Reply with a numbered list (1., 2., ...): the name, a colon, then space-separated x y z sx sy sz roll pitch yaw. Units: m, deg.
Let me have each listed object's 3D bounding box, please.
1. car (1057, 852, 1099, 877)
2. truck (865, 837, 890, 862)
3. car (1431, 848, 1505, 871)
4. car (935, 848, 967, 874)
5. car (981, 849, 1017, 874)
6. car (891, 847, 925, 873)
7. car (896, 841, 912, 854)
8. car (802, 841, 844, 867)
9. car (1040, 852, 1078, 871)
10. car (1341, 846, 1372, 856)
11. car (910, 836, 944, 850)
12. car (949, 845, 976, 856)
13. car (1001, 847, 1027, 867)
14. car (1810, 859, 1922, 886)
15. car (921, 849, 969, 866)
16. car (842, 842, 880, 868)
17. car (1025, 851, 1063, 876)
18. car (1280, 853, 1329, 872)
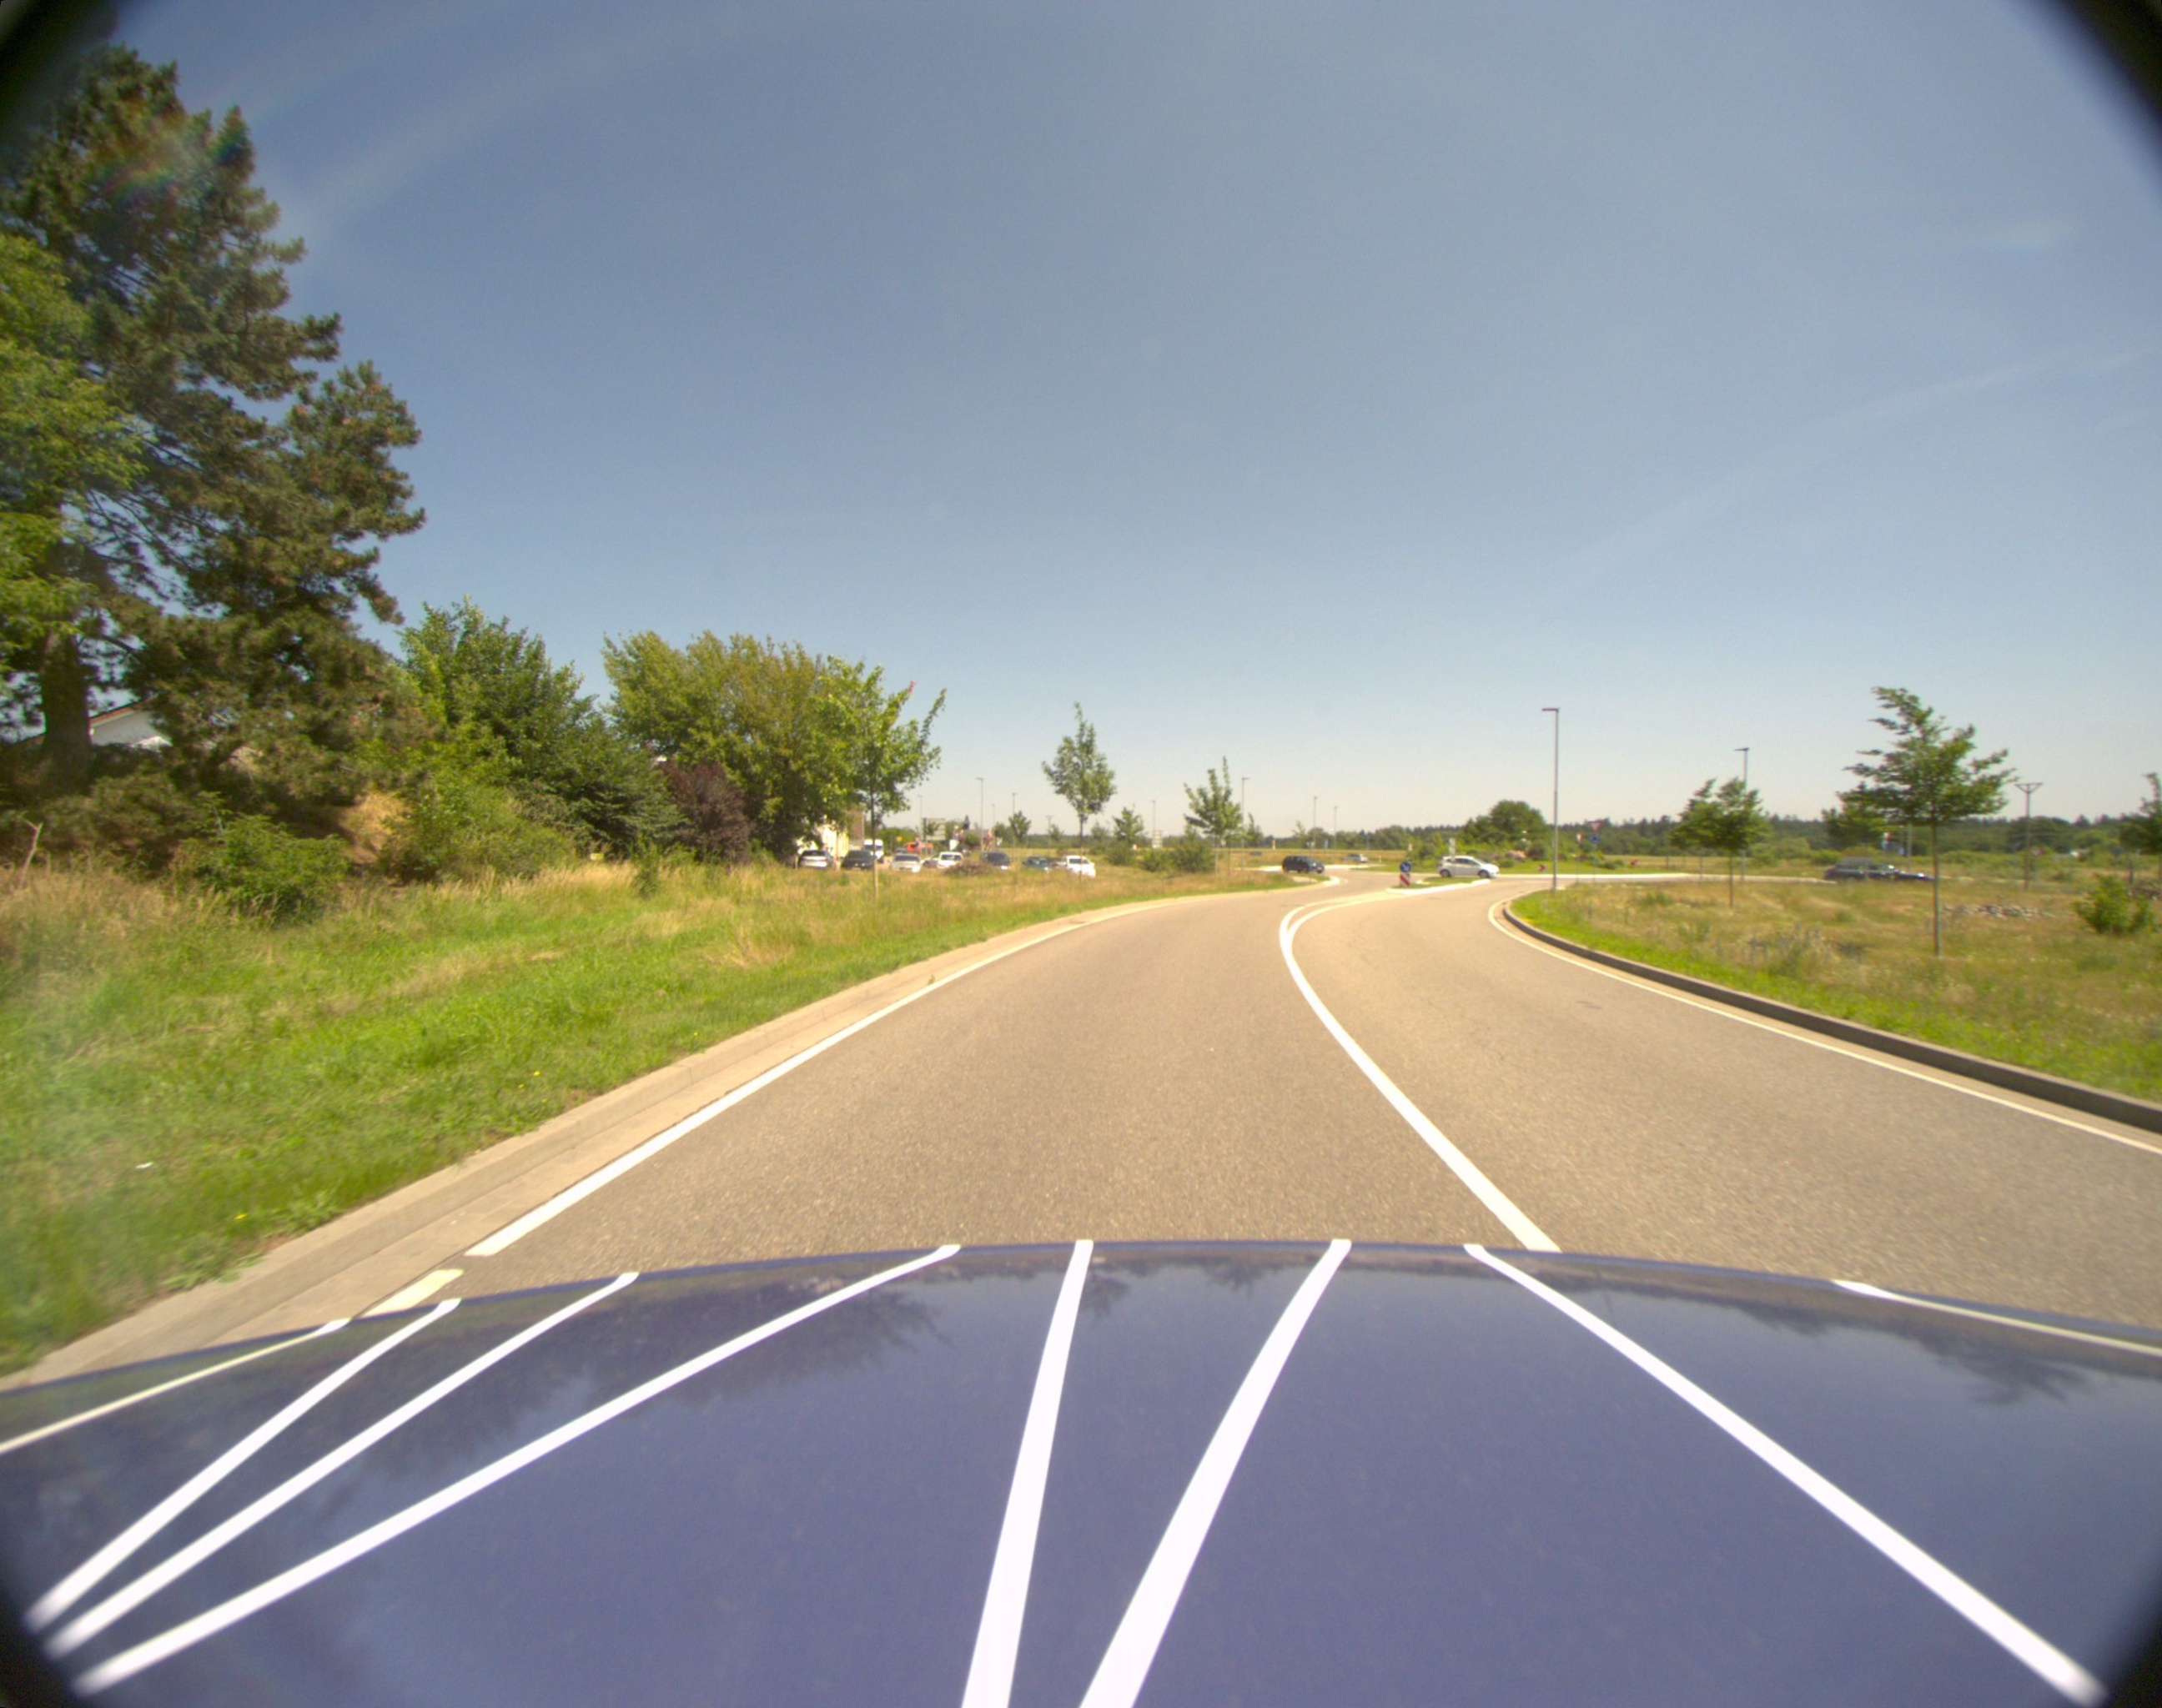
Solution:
1. car: -0.241 0.622 46.586 1.748 1.419 3.994 0 1 -13
2. truck: -20.984 -0.516 78.646 2.238 2.492 5.628 0 1 -13
3. car: 28.697 0.359 56.403 4.507 1.553 1.873 2 2 42
4. car: -7.797 0.425 45.182 1.774 1.434 3.963 0 -1 -11
5. car: -4.907 0.450 45.233 1.774 1.434 3.963 0 -1 -11
6. car: -9.893 0.369 43.526 1.774 1.434 3.962 0 -1 -12
7. car: -22.096 -0.811 94.902 1.855 1.487 3.994 0 1 -15
8. car: -14.843 0.036 43.860 1.774 1.434 3.963 0 -1 -12
9. car: -1.662 0.507 56.488 1.749 1.304 3.993 0 1 -18
10. car: 42.121 -0.521 116.306 2.003 1.477 3.989 1 1 -31
11. car: -30.405 -2.135 149.870 6.131 2.569 2.356 1 1 1
12. car: -18.532 -0.600 118.551 1.957 1.640 4.876 -1 1 -39
13. car: -6.417 0.294 72.486 1.855 1.820 3.994 0 1 -15
14. car: 48.596 1.134 47.195 4.507 1.427 1.872 1 3 34
15. car: -12.033 0.271 67.111 3.988 1.385 1.654 1 1 30
16. car: -12.474 0.081 43.346 1.774 1.434 3.963 0 -1 -12
17. car: -2.294 0.565 46.124 1.774 1.434 3.963 0 -1 -11
18. car: 19.857 0.705 67.686 1.724 1.553 4.140 -1 2 -29
